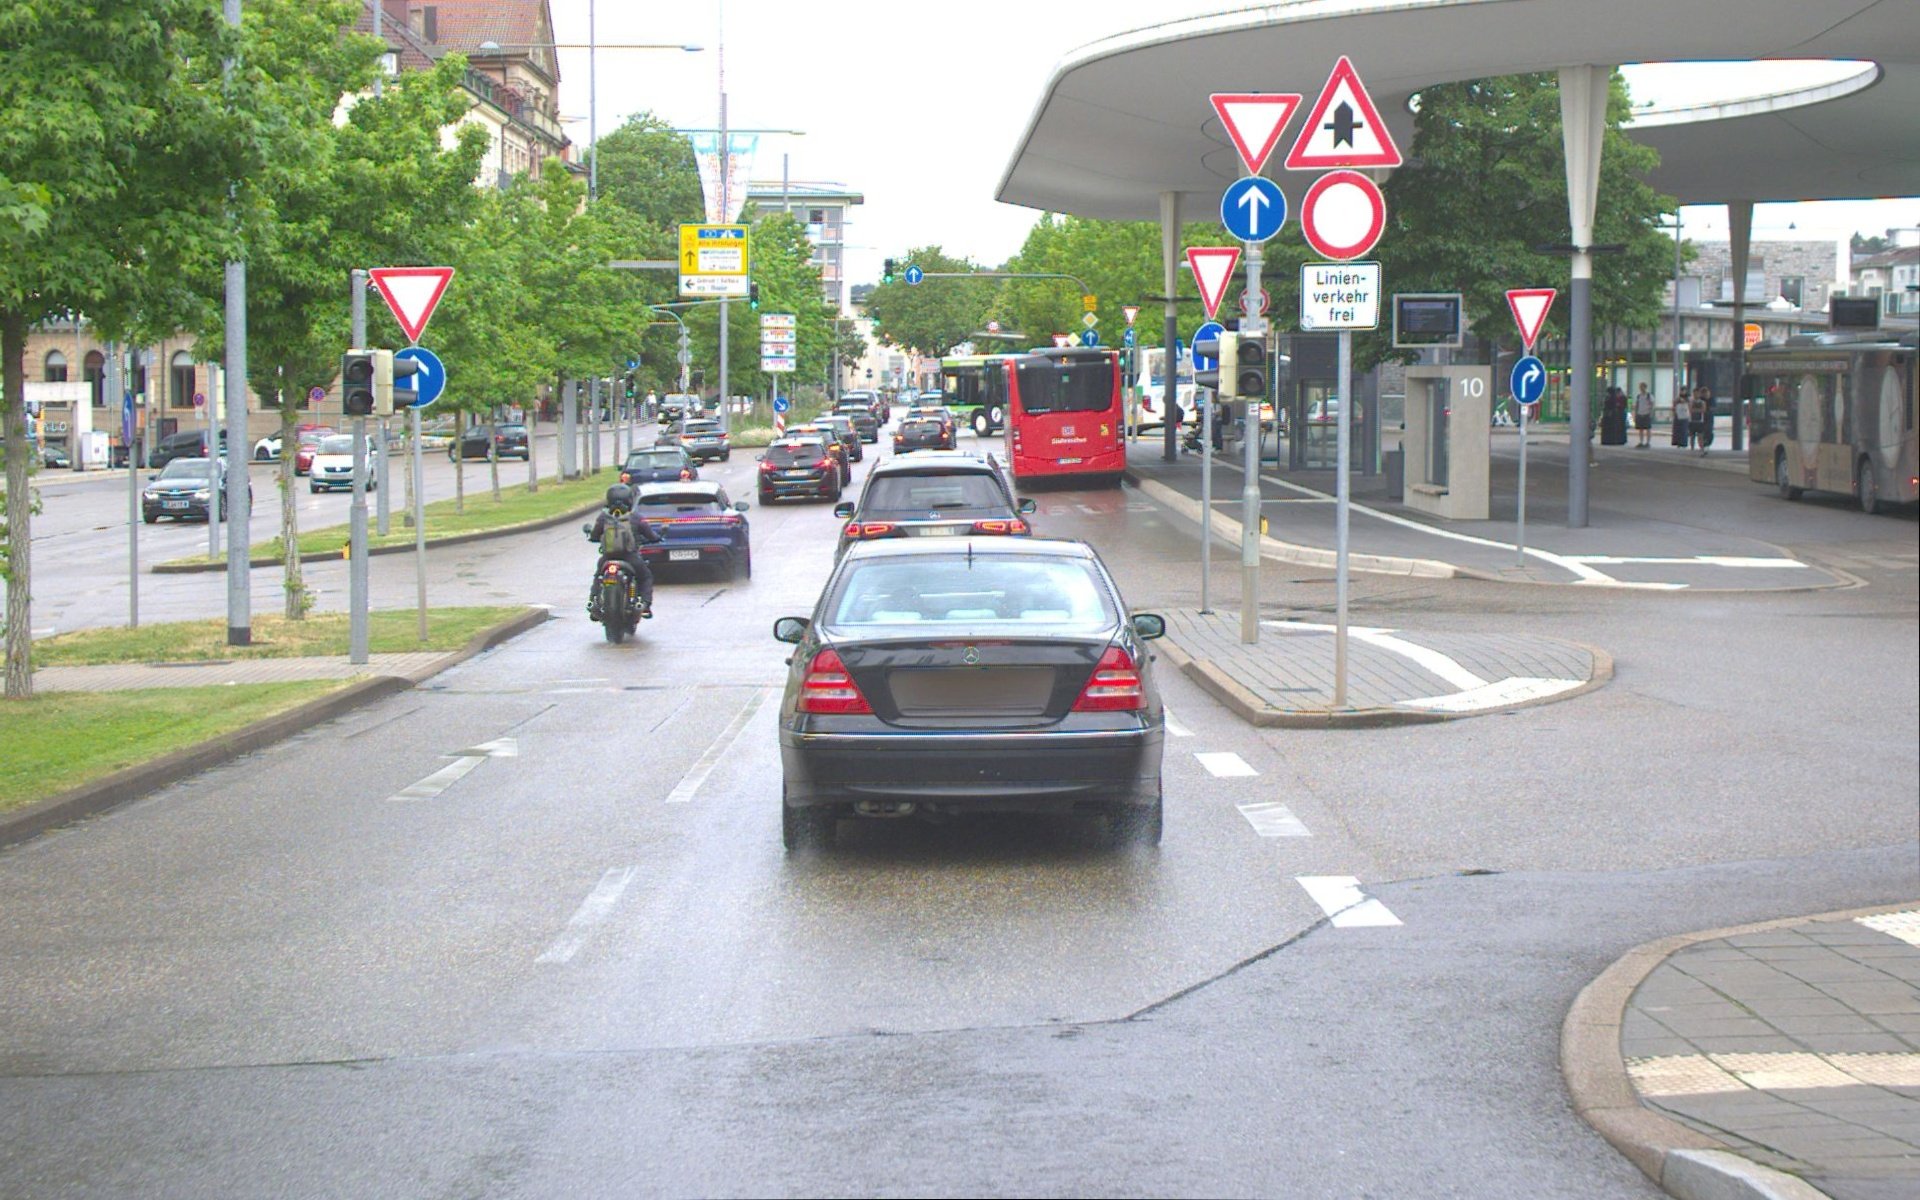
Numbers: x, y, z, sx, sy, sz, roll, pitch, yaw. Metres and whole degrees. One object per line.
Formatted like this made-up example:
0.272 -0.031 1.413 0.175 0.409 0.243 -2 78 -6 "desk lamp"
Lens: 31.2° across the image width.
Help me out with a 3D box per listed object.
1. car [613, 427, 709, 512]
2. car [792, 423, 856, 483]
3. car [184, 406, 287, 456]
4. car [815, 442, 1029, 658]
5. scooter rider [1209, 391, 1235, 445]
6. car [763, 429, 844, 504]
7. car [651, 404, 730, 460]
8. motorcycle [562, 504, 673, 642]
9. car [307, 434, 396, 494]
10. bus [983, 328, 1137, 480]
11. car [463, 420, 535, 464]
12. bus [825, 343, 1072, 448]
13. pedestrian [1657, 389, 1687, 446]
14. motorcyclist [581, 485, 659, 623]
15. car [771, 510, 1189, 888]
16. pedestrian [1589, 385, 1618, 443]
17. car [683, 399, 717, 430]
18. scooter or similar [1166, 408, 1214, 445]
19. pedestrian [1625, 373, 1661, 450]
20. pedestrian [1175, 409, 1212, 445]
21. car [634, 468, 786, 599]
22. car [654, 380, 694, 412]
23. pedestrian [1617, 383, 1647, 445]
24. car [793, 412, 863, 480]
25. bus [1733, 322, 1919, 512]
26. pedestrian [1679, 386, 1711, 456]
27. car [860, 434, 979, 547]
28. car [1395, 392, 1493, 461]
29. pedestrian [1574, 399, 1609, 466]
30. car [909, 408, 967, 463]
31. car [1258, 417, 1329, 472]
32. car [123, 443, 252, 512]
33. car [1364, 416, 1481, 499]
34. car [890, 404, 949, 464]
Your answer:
-6.378 -2.814 73.704 1.676 1.617 3.872 -3 4 0 "car"
-4.235 -4.596 107.782 1.865 1.678 4.000 2 1 -1 "car"
-29.047 -6.772 137.872 3.630 1.798 1.646 3 0 15 "car"
-0.388 -0.586 35.432 1.957 1.869 4.875 -3 4 0 "car"
7.325 -5.083 96.113 0.592 1.484 0.764 0 3 13 "scooter rider"
-3.502 -3.036 77.491 1.575 1.499 3.872 -3 4 0 "car"
-8.982 -5.567 114.267 1.865 1.678 4.001 2 1 -15 "car"
-3.443 -0.288 34.718 0.793 1.257 1.855 -2 4 3 "motorcycle"
-17.829 -4.007 100.881 1.847 1.646 4.420 -1 3 -1 "car"
2.255 -4.694 81.543 3.286 3.280 10.880 -2 4 0 "bus"
-17.261 -5.896 128.497 1.727 1.555 3.769 -1 2 -23 "car"
-0.581 -8.025 135.948 2.839 3.973 11.860 -4 4 -39 "bus"
20.048 -5.139 96.748 0.580 1.573 0.560 3 0 35 "pedestrian"
-3.435 -0.468 34.769 0.641 1.342 0.689 -1 4 3 "motorcyclist"
0.046 0.355 16.418 1.697 1.457 4.304 -2 2 -1 "car"
18.054 -5.218 96.503 0.580 1.573 0.560 3 0 29 "pedestrian"
-14.305 -10.216 189.077 1.575 1.561 3.431 -3 4 0 "car"
6.447 -4.857 96.325 1.243 1.009 0.764 0 3 14 "scooter or similar"
18.497 -5.102 93.126 0.724 2.007 0.669 3 0 26 "pedestrian"
6.533 -4.837 96.249 0.914 0.981 0.633 1 -1 14 "pedestrian"
-3.517 -0.992 49.033 1.816 1.565 4.405 -3 4 0 "car"
-15.209 -10.869 182.794 1.780 1.561 3.431 -3 4 0 "car"
19.090 -5.288 97.610 0.580 1.710 0.560 3 0 35 "pedestrian"
-3.328 -3.934 87.269 1.575 1.561 3.872 -3 4 0 "car"
16.476 -3.325 60.805 2.721 3.033 12.092 -2 4 -1 "bus"
18.010 -4.385 84.222 0.560 1.686 0.614 0 4 -7 "pedestrian"
-0.638 -1.771 54.520 1.741 1.561 3.872 -3 4 0 "car"
11.986 -4.326 85.388 1.711 1.656 4.241 0 4 -2 "car"
15.228 -4.034 82.910 0.598 1.576 0.712 -2 2 -9 "pedestrian"
-0.776 -5.635 117.980 1.865 1.678 4.000 2 1 -1 "car"
10.488 -4.908 108.338 1.711 1.656 4.241 0 4 -1 "car"
-18.070 -2.898 80.606 1.847 1.499 4.920 -1 3 0 "car"
8.715 -2.710 64.944 1.647 1.448 3.238 -1 4 -2 "car"
-1.160 -4.775 98.417 1.575 1.561 3.872 -3 4 0 "car"
